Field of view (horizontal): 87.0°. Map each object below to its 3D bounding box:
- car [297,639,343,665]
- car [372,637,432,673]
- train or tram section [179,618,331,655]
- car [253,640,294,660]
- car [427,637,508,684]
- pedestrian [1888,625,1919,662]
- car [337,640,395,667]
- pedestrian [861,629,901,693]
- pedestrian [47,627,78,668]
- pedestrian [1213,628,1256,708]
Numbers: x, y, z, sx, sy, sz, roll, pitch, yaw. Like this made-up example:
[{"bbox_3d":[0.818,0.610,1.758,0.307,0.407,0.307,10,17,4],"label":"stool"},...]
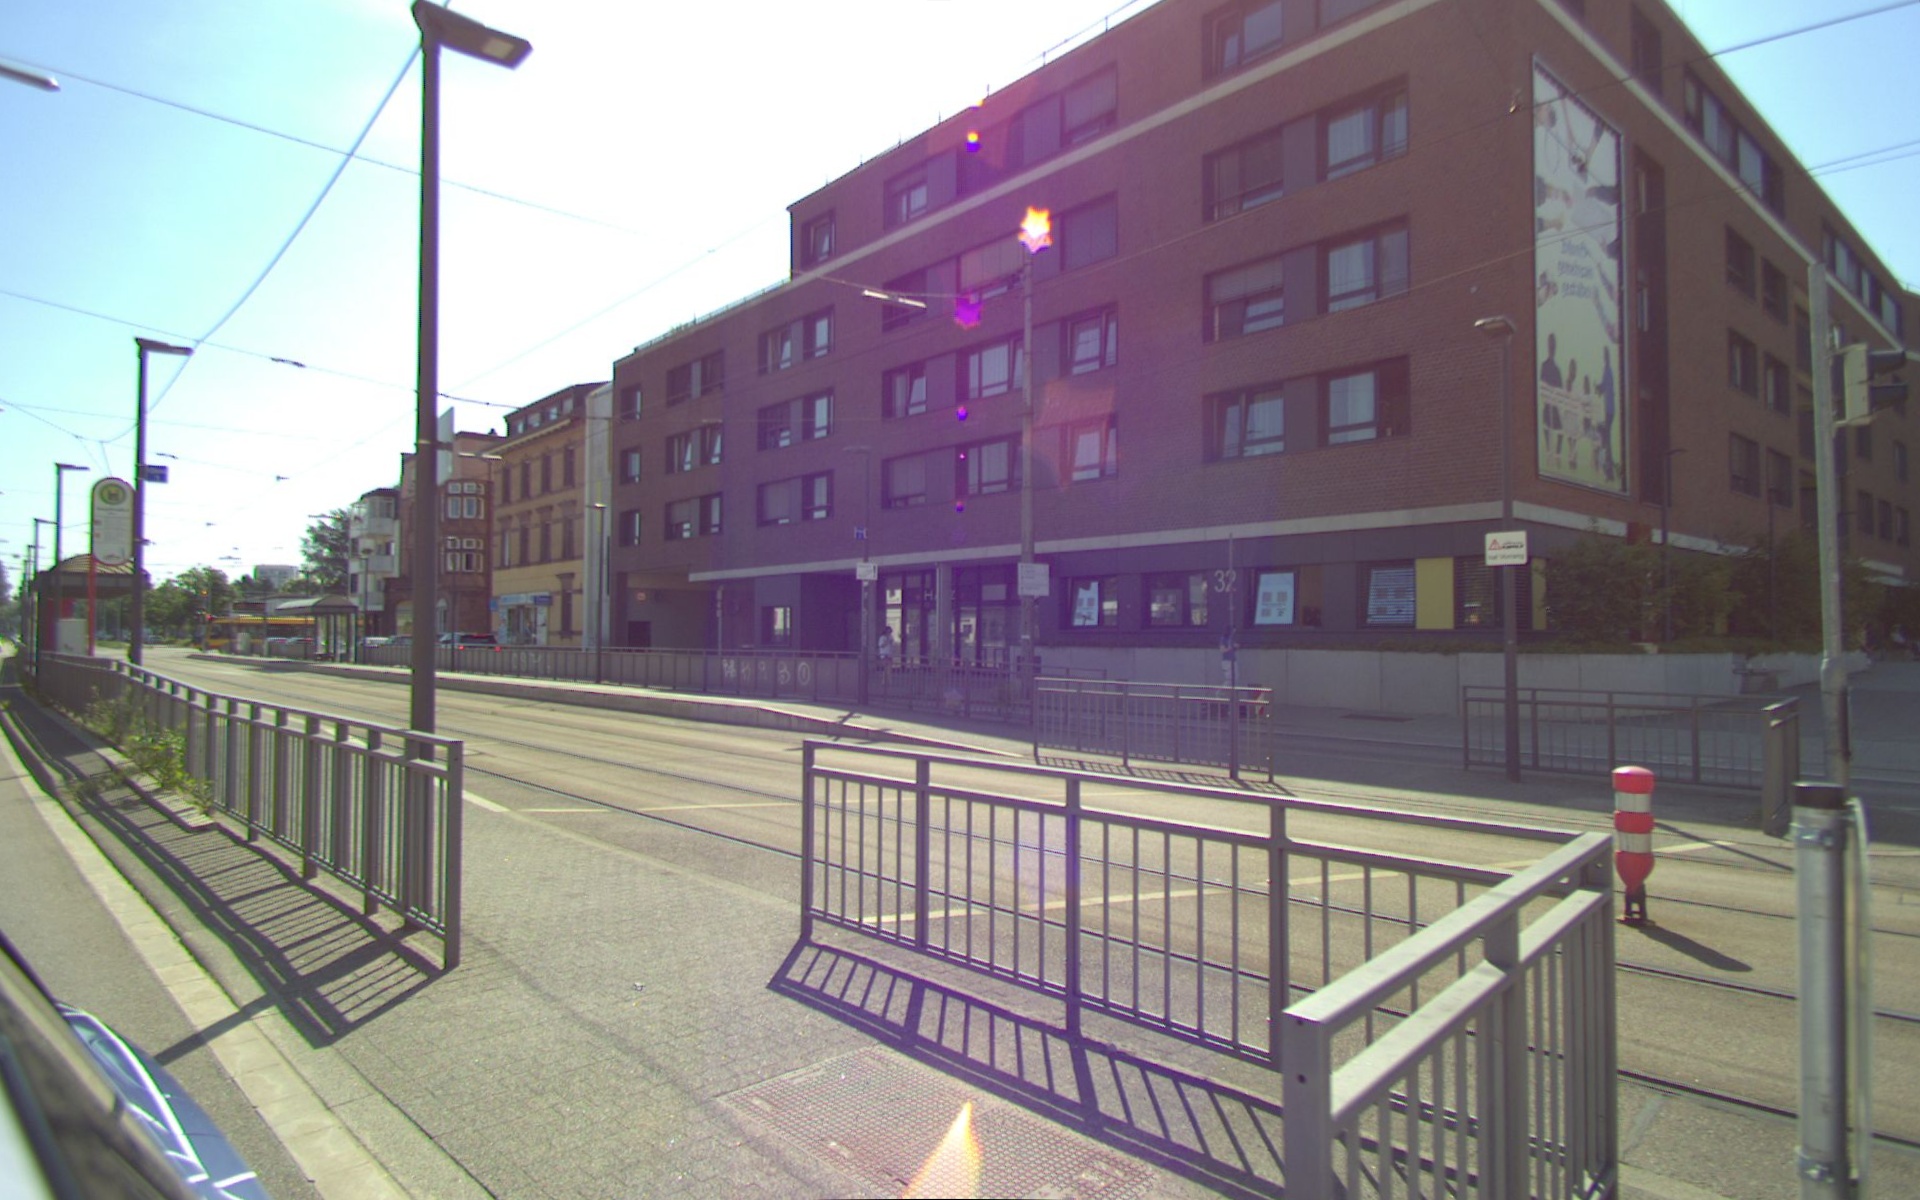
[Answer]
[{"bbox_3d":[-37.786,3.050,59.733,1.606,1.480,3.868,2,-3,-43],"label":"car"},{"bbox_3d":[-26.591,2.602,48.200,1.692,1.635,3.582,1,-2,-43],"label":"car"},{"bbox_3d":[-69.734,3.630,100.732,2.668,3.507,13.247,-1,-2,20],"label":"train or tram section"},{"bbox_3d":[-48.050,3.491,70.805,1.692,1.253,4.082,0,-1,-44],"label":"car"},{"bbox_3d":[-19.861,2.391,40.737,1.779,1.742,4.192,0,-2,-43],"label":"car"},{"bbox_3d":[34.552,1.575,36.782,1.104,1.310,1.018,1,-2,-39],"label":"pedestrian"},{"bbox_3d":[-31.628,2.831,53.796,1.612,1.374,4.524,3,-3,-44],"label":"car"},{"bbox_3d":[-2.320,1.765,29.696,0.834,1.833,0.839,2,-3,-43],"label":"pedestrian"},{"bbox_3d":[-41.209,2.182,46.481,0.969,1.873,1.239,3,-4,-43],"label":"pedestrian"},{"bbox_3d":[5.889,1.453,21.713,0.700,1.677,0.574,-2,-3,45],"label":"pedestrian"}]
